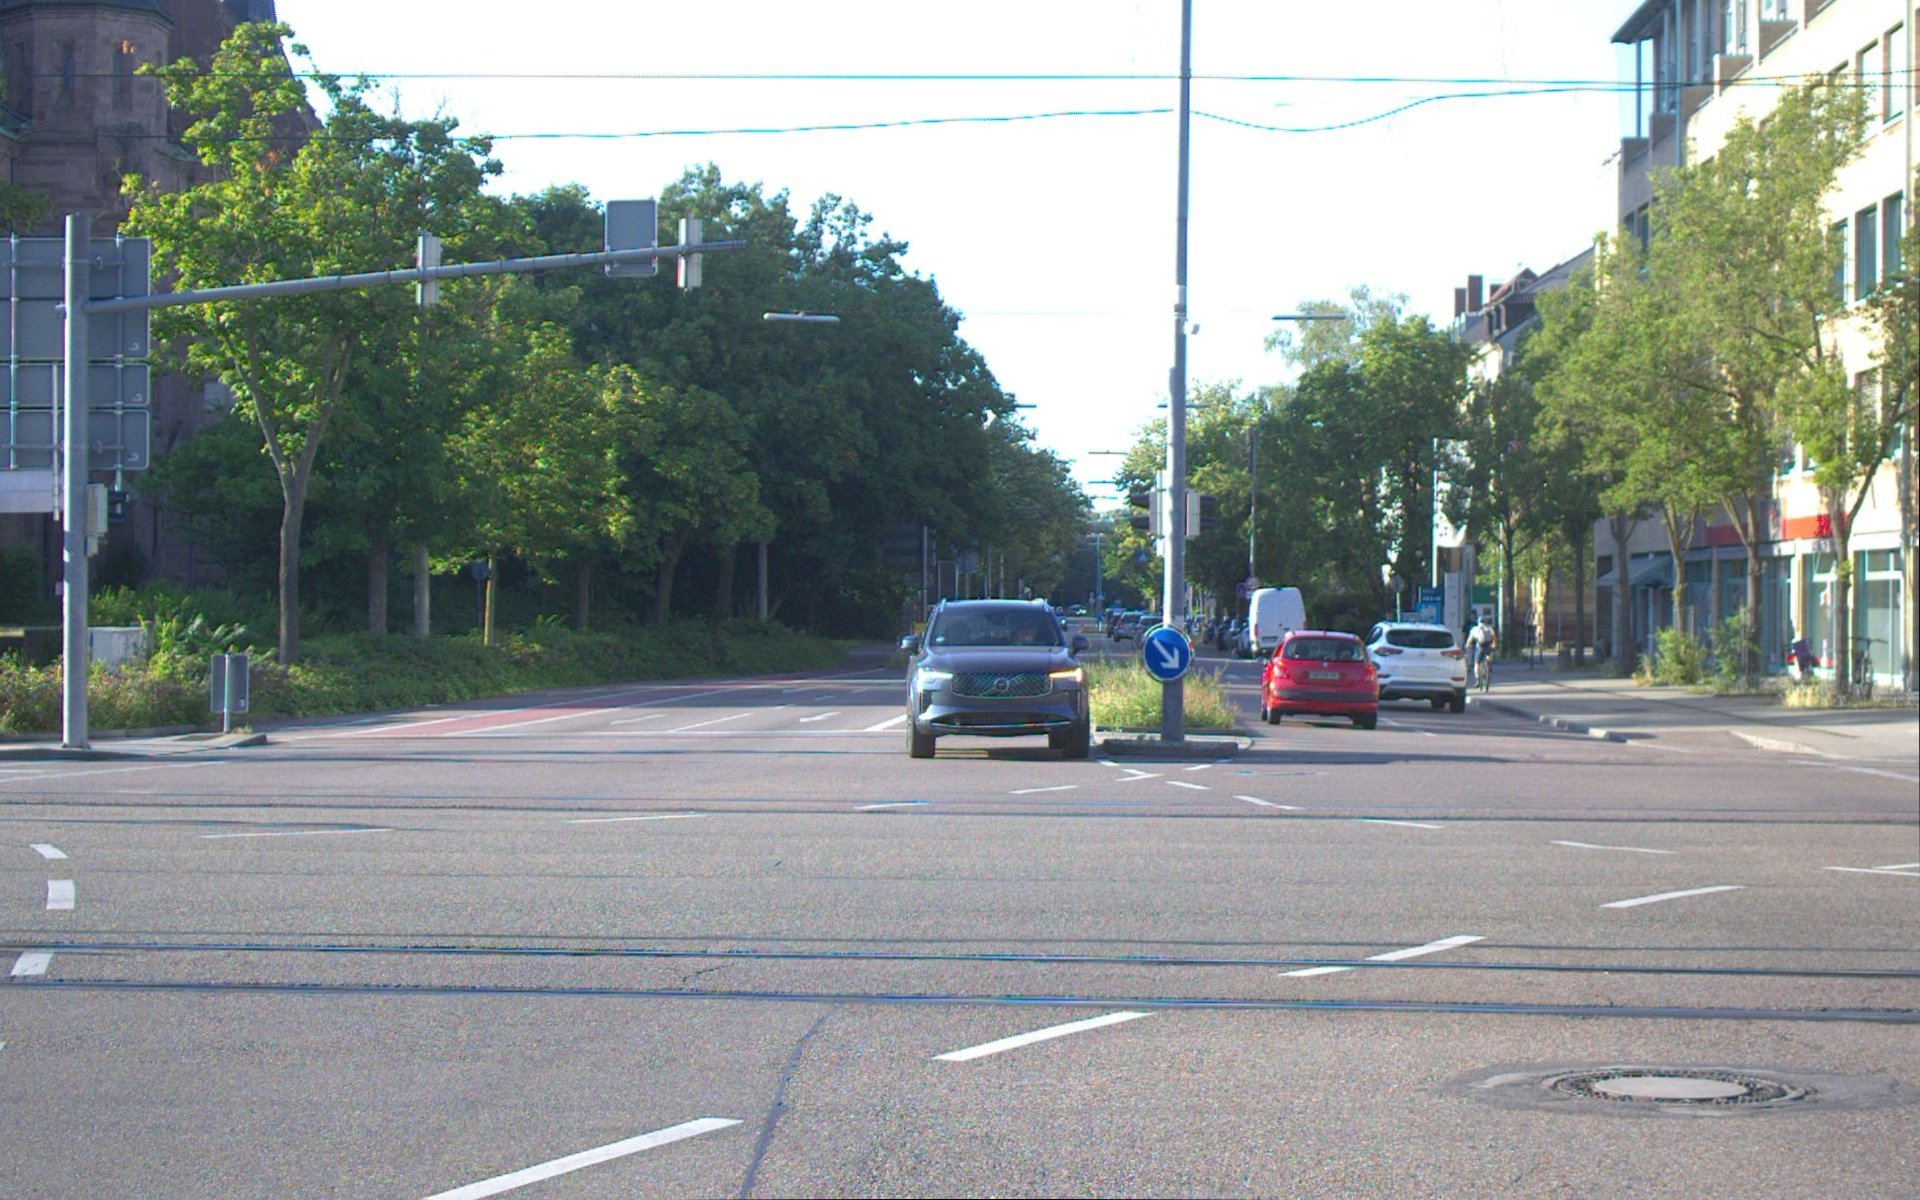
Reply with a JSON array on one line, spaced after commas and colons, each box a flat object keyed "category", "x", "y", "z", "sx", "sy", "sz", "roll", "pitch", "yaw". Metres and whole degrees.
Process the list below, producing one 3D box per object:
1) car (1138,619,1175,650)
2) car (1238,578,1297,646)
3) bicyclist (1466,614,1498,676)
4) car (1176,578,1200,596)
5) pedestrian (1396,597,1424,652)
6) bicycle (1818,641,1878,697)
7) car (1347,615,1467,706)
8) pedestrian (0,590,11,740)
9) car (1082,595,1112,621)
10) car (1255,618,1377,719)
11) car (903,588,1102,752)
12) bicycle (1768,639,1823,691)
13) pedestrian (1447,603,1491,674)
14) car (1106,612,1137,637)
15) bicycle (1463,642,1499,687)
[{"category": "car", "x": 8.488, "y": 1.471, "z": 148.561, "sx": 1.595, "sy": 1.263, "sz": 3.266, "roll": 1, "pitch": 0, "yaw": 3}, {"category": "car", "x": 11.473, "y": 0.432, "z": 128.376, "sx": 1.994, "sy": 2.432, "sz": 3.999, "roll": 2, "pitch": 0, "yaw": 3}, {"category": "bicyclist", "x": 11.897, "y": 1.027, "z": 78.405, "sx": 0.592, "sy": 1.364, "sz": 0.930, "roll": 2, "pitch": 1, "yaw": 3}, {"category": "car", "x": 15.854, "y": -0.910, "z": 239.208, "sx": 1.595, "sy": 1.263, "sz": 3.266, "roll": 1, "pitch": 0, "yaw": 3}, {"category": "pedestrian", "x": 14.975, "y": 0.807, "z": 114.373, "sx": 0.848, "sy": 1.797, "sz": 0.775, "roll": 1, "pitch": 0, "yaw": 3}, {"category": "bicycle", "x": 16.441, "y": 1.273, "z": 63.666, "sx": 0.646, "sy": 0.991, "sz": 2.081, "roll": 1, "pitch": 0, "yaw": 2}, {"category": "car", "x": 8.489, "y": 1.130, "z": 65.595, "sx": 1.917, "sy": 1.602, "sz": 4.269, "roll": 2, "pitch": 0, "yaw": 3}, {"category": "pedestrian", "x": -11.545, "y": 0.743, "z": 39.554, "sx": 0.965, "sy": 1.733, "sz": 0.812, "roll": 1, "pitch": 0, "yaw": 5}, {"category": "car", "x": 9.381, "y": 0.540, "z": 235.363, "sx": 1.886, "sy": 1.665, "sz": 3.999, "roll": 2, "pitch": 0, "yaw": 3}, {"category": "car", "x": 5.573, "y": 1.050, "z": 54.190, "sx": 1.670, "sy": 1.457, "sz": 3.999, "roll": 2, "pitch": 0, "yaw": 3}, {"category": "car", "x": 0.408, "y": 0.774, "z": 38.842, "sx": 1.993, "sy": 1.718, "sz": 5.031, "roll": 0, "pitch": -1, "yaw": -2}, {"category": "bicycle", "x": 16.578, "y": 1.274, "z": 68.242, "sx": 0.646, "sy": 0.991, "sz": 2.081, "roll": 1, "pitch": 0, "yaw": 2}, {"category": "pedestrian", "x": 14.350, "y": 1.078, "z": 97.021, "sx": 1.107, "sy": 1.969, "sz": 1.161, "roll": 1, "pitch": 0, "yaw": 3}, {"category": "car", "x": 8.523, "y": 1.273, "z": 180.915, "sx": 1.595, "sy": 1.263, "sz": 3.266, "roll": 1, "pitch": 0, "yaw": 3}, {"category": "bicycle", "x": 11.883, "y": 1.469, "z": 78.425, "sx": 0.592, "sy": 0.940, "sz": 1.978, "roll": 2, "pitch": 1, "yaw": 3}]
